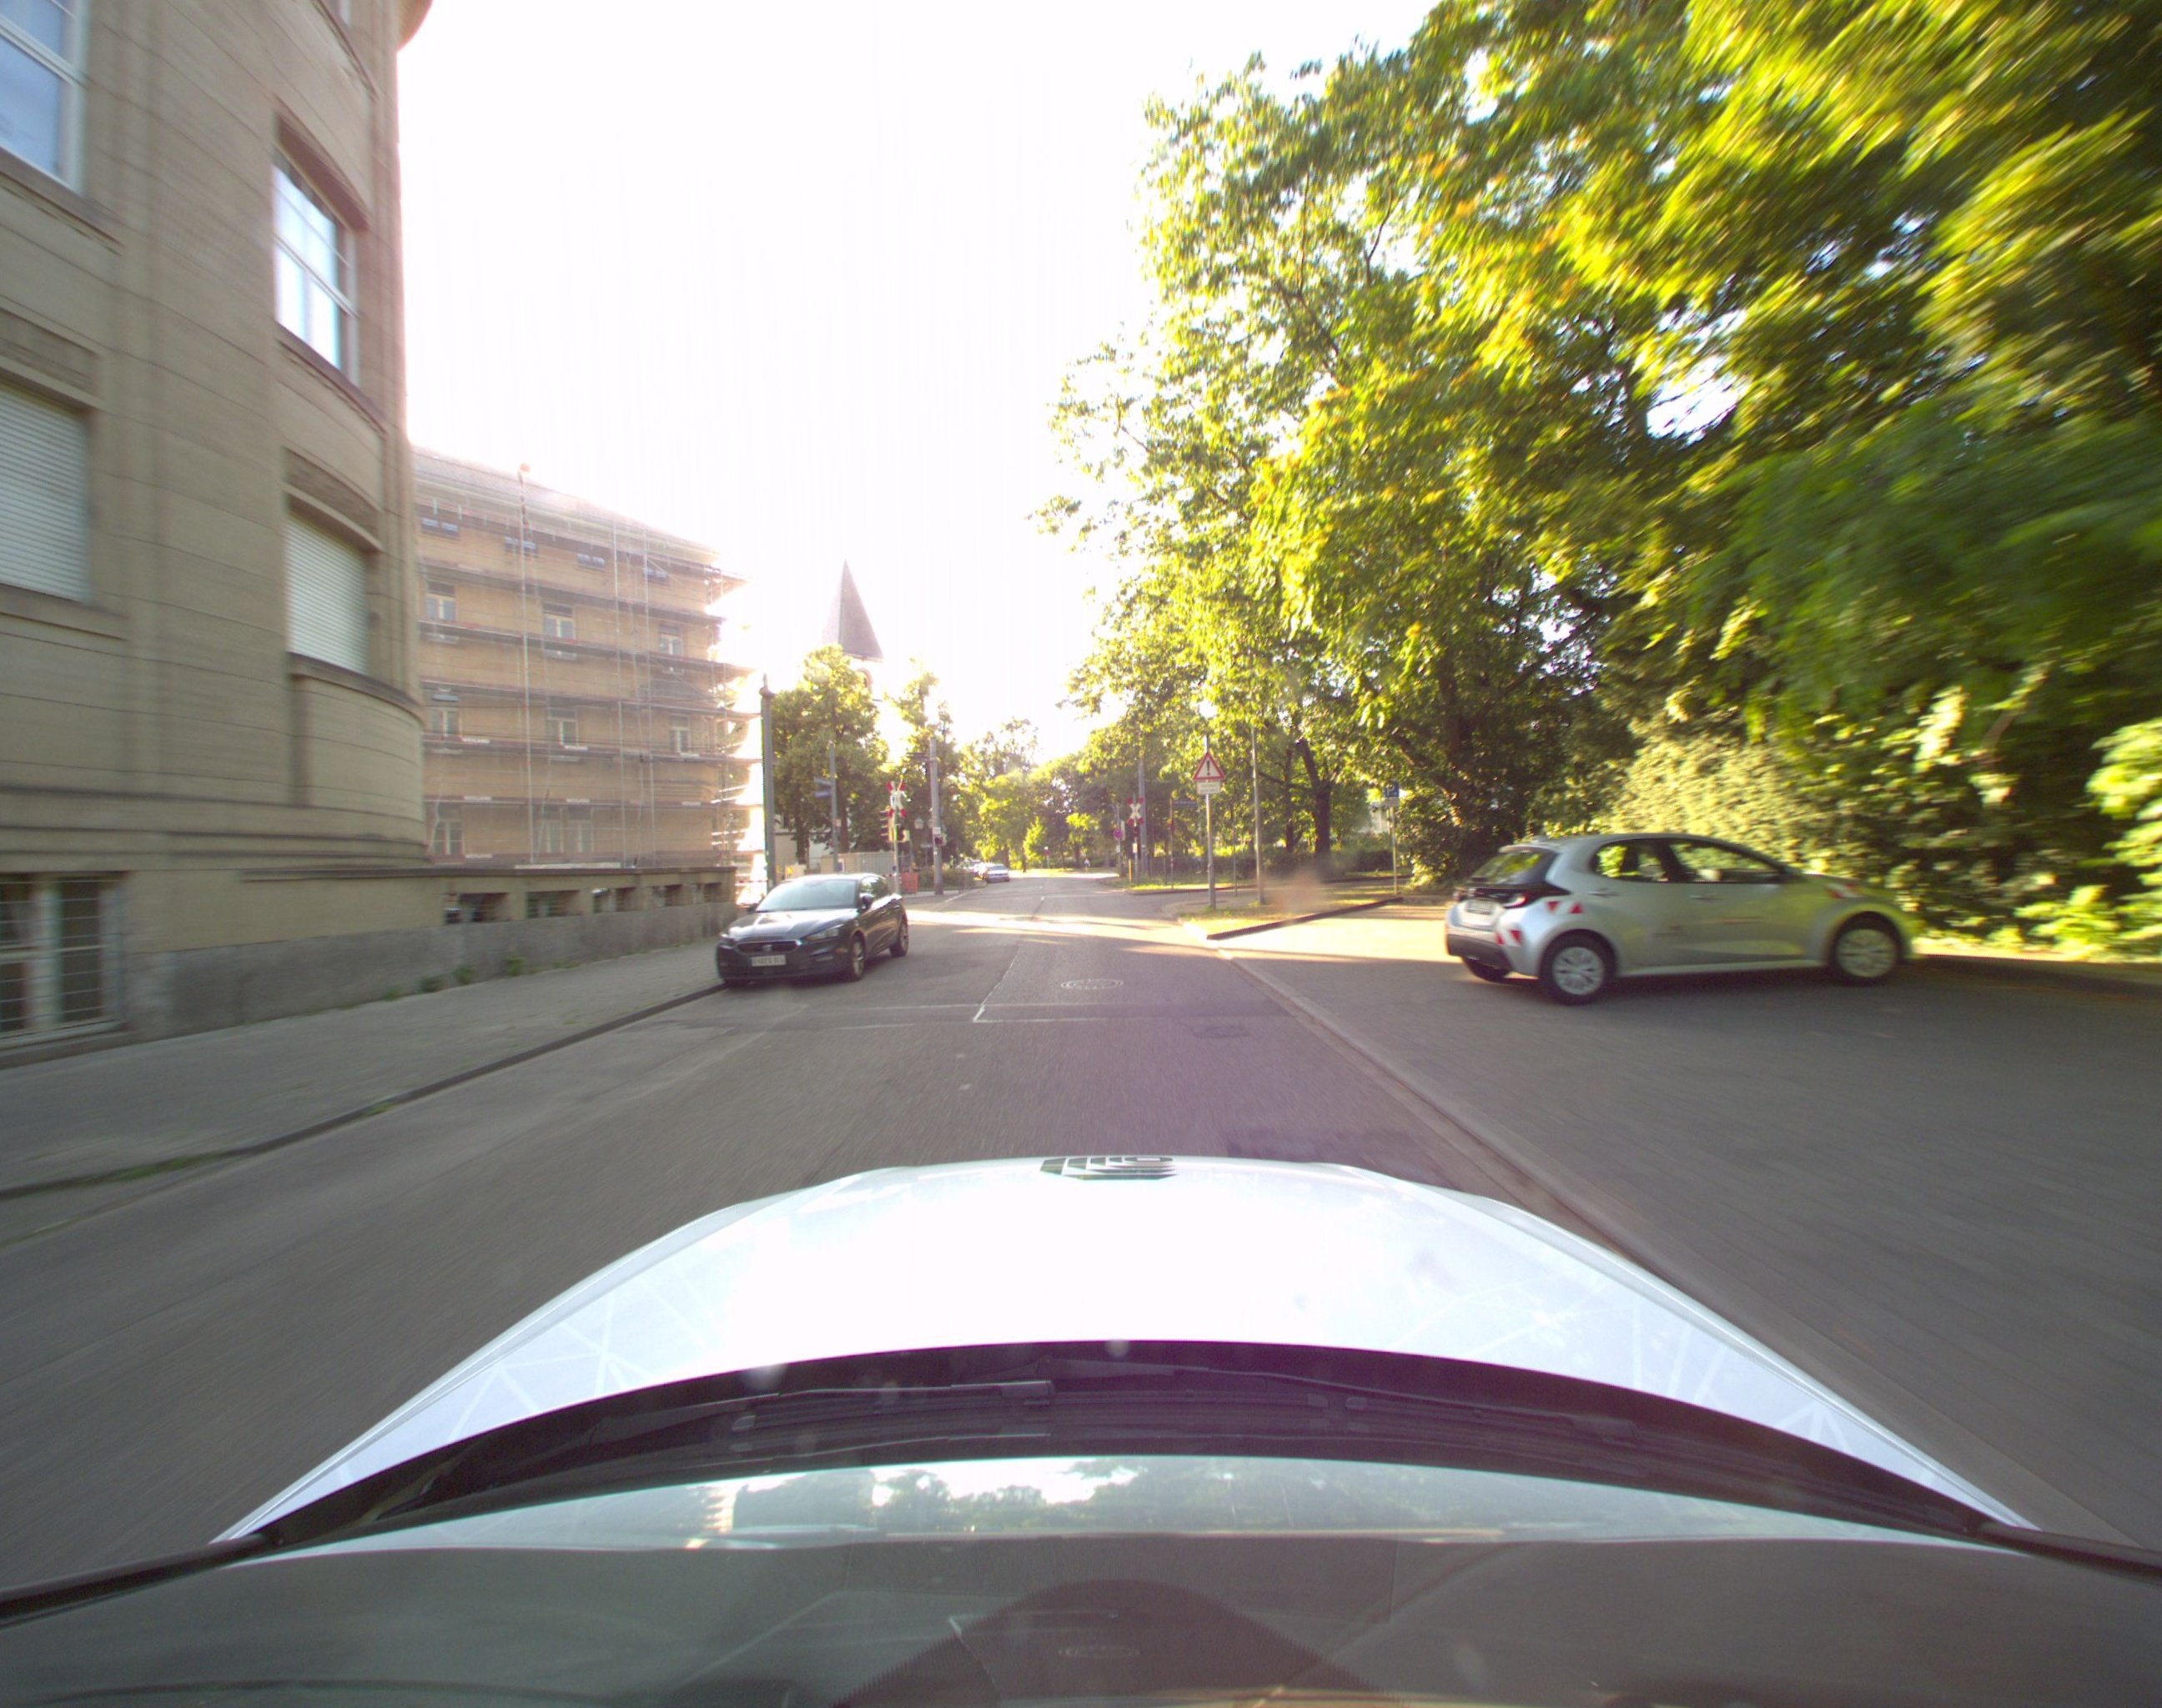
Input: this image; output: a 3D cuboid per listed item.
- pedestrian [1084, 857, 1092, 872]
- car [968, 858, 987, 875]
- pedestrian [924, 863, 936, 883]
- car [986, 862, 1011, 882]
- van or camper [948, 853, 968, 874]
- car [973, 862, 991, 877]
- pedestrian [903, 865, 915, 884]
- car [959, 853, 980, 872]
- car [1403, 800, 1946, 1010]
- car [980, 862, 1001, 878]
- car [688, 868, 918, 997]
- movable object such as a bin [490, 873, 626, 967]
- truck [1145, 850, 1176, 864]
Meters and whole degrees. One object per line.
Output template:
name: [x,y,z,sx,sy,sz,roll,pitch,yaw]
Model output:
pedestrian: [0.774,1.139,88.092,0.771,1.574,0.767,-2,-1,-3]
car: [-12.638,1.499,98.838,1.853,1.946,4.820,-2,0,-12]
pedestrian: [-10.294,1.312,55.658,0.548,1.298,0.767,-2,0,5]
car: [-6.664,1.449,65.761,1.778,1.415,4.485,-4,0,-8]
van or camper: [-17.898,1.341,118.232,2.093,2.908,6.299,-2,0,-15]
car: [-10.979,1.713,90.607,1.617,1.501,3.681,-2,0,-12]
pedestrian: [-11.732,1.391,55.464,0.548,1.233,0.726,-2,0,5]
car: [-14.487,1.116,105.837,1.856,2.356,5.155,-2,0,-17]
car: [5.525,0.449,7.984,3.974,1.546,1.735,-4,-1,0]
car: [-8.799,1.524,79.049,1.613,1.440,3.592,-3,0,-11]
car: [-3.802,0.990,11.997,1.737,1.448,4.210,-3,-1,2]
movable object such as a bin: [-9.148,1.124,14.336,1.138,1.486,1.633,-2,0,11]
truck: [17.554,0.663,180.160,2.622,3.029,7.927,-1,-1,-32]
